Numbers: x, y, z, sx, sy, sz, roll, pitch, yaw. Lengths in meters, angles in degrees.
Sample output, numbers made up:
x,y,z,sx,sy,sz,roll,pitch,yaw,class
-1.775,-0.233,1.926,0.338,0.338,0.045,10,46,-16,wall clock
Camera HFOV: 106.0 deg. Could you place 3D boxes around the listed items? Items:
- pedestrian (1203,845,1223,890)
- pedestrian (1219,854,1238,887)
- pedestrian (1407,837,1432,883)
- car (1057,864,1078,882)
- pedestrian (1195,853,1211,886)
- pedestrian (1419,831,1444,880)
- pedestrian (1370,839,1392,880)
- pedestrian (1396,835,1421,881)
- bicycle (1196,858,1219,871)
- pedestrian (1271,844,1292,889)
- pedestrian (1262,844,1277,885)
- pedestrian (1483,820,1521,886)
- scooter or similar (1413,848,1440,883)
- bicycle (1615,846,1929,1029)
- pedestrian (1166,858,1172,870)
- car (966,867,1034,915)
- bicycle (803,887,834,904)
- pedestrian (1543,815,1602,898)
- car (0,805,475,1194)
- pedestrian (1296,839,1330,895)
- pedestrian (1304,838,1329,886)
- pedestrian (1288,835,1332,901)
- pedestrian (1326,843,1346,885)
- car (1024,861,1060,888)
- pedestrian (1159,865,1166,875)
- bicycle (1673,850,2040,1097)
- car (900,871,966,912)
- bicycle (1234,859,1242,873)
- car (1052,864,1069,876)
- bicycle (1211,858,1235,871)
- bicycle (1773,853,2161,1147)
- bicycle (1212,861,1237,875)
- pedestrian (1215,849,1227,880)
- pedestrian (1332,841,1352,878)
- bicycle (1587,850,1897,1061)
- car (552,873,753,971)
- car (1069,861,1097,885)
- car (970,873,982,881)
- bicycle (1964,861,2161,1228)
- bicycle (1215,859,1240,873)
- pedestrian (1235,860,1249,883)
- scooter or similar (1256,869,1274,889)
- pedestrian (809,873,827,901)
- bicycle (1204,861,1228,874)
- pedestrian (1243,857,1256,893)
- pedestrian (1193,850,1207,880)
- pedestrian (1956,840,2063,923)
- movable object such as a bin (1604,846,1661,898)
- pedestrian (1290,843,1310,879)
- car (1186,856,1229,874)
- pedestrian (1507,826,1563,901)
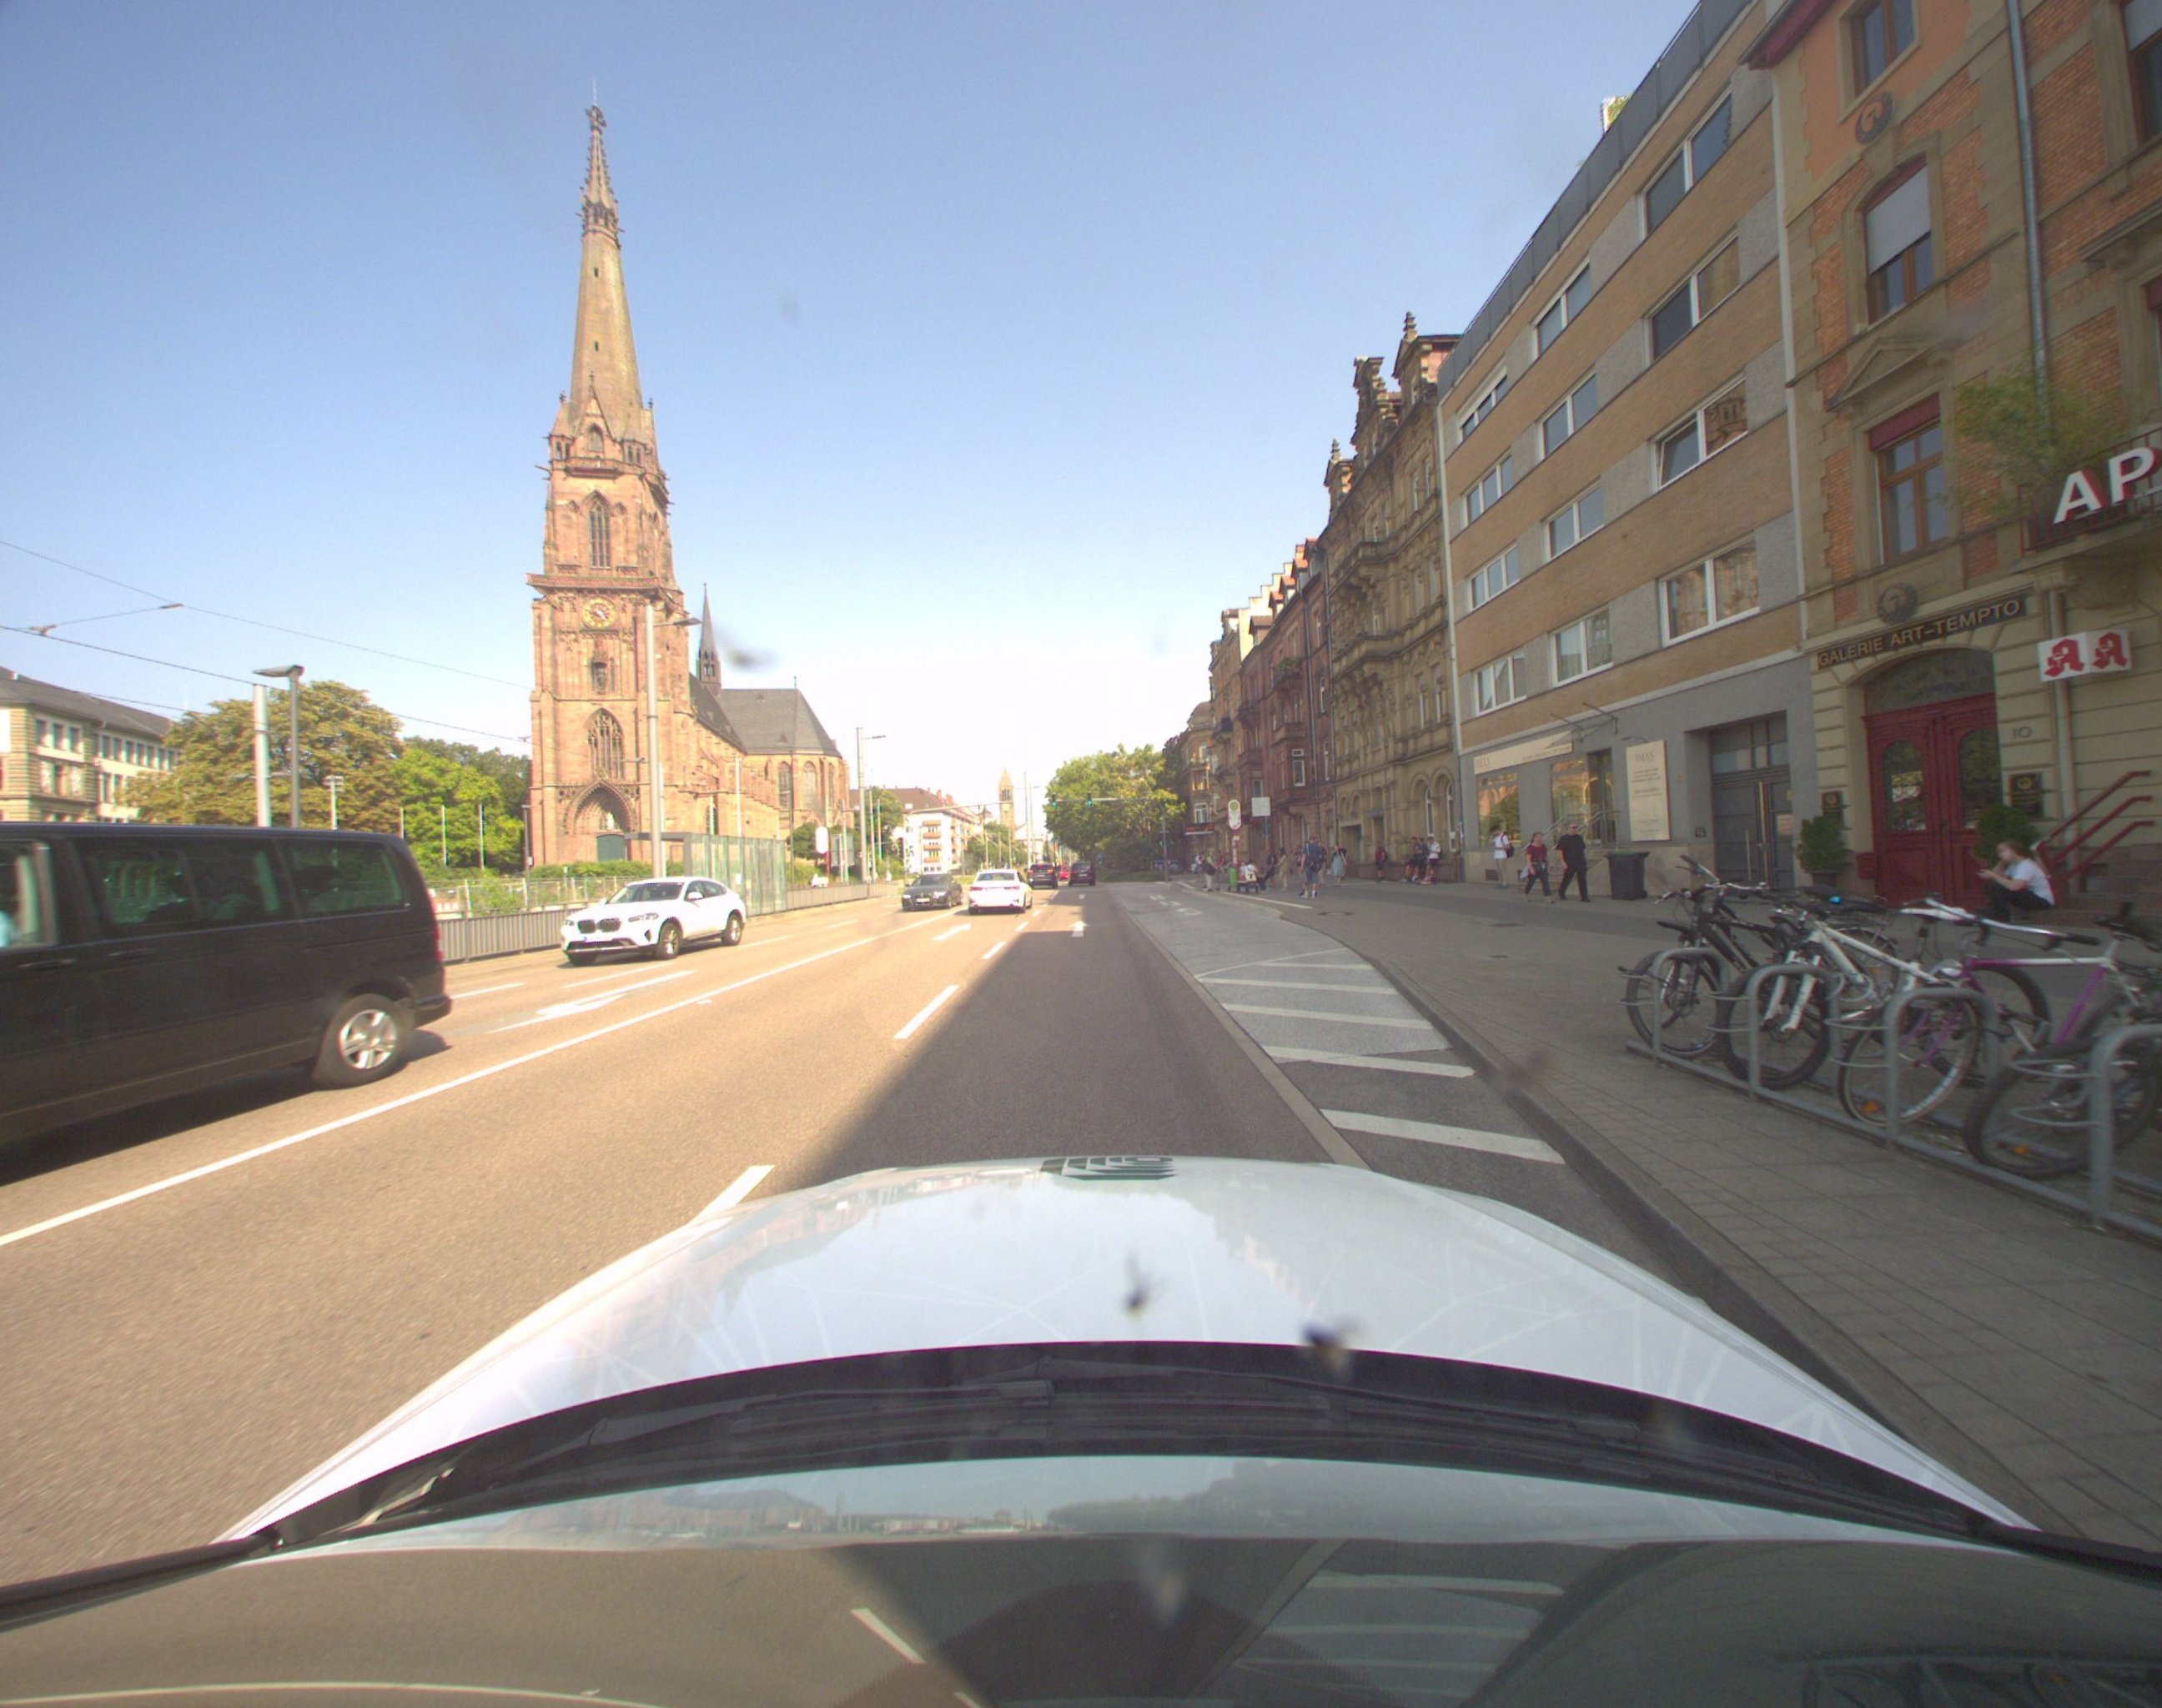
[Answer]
x,y,z,sx,sy,sz,roll,pitch,yaw,class
5.248,0.524,32.305,0.563,1.729,0.744,-3,-1,-3,pedestrian
5.855,0.658,32.256,0.563,1.277,0.596,-3,-1,-4,pedestrian
12.715,0.213,30.631,0.602,1.692,0.586,-3,-1,-3,pedestrian
-1.242,1.769,78.315,1.825,1.621,4.357,-1,0,1,car
5.937,0.751,39.656,0.527,1.612,0.702,-3,-1,-3,pedestrian
12.736,0.062,29.581,0.602,1.731,0.510,-3,-1,-3,pedestrian
12.273,0.224,33.331,0.602,1.654,0.586,-3,-1,-3,pedestrian
12.575,0.154,31.286,0.602,1.692,0.586,-3,-1,-3,pedestrian
11.658,0.946,75.068,1.925,1.048,0.526,-3,-1,-6,bicycle
7.889,0.488,32.101,0.563,1.729,0.616,-3,-1,-3,pedestrian
8.172,0.455,35.308,0.340,1.732,0.805,-3,-1,-3,pedestrian
12.175,-0.028,23.584,0.602,1.831,0.741,-3,-1,-3,pedestrian
12.034,0.391,28.365,0.359,1.163,1.151,-3,-1,-2,scooter or similar
4.827,0.565,5.765,1.626,1.148,0.602,-3,-1,2,bicycle
9.637,1.070,89.405,0.596,1.248,0.506,-3,-1,-1,pedestrian
-2.662,1.186,27.679,1.803,1.427,4.774,-1,0,0,car
-16.446,2.581,51.036,1.754,0.978,0.479,-3,-1,-2,bicycle
10.984,0.066,18.223,0.717,1.787,0.856,-3,-1,1,pedestrian
-6.313,0.784,4.685,1.987,1.904,4.715,-4,-1,0,car
7.466,0.416,26.219,0.748,1.729,0.800,-3,-1,-3,pedestrian
9.288,0.315,32.149,0.614,1.804,1.072,-3,-1,1,pedestrian
6.612,0.397,23.542,0.923,1.831,0.800,-3,-1,-3,pedestrian
10.160,0.392,32.416,0.484,1.610,0.813,-3,-1,1,pedestrian
-2.422,1.269,51.548,1.987,1.621,4.357,-1,0,1,car
8.766,1.709,87.479,0.446,1.071,0.482,-2,-1,-30,pedestrian
4.102,0.599,4.338,1.630,1.148,0.385,-3,-1,-5,bicycle
-5.794,1.433,32.360,1.707,1.331,4.520,-4,-1,0,car
12.474,0.957,64.826,0.414,1.048,1.672,-3,-1,6,bicycle
-2.437,1.925,99.599,1.857,1.424,4.357,-1,0,1,car
12.117,0.912,69.560,1.925,1.048,0.498,-3,-1,-6,bicycle
4.080,0.611,3.668,1.630,1.148,0.385,-3,-1,-5,bicycle
11.892,1.122,67.390,1.925,1.048,0.498,-3,-1,-6,bicycle
7.974,0.605,46.325,0.480,1.702,0.702,-3,-1,-3,pedestrian
12.331,0.248,38.484,0.627,1.719,0.691,-3,-1,0,pedestrian
4.056,0.595,5.029,1.630,1.148,0.385,-3,-1,-5,bicycle
-8.720,1.285,17.102,1.707,1.611,4.504,-4,-1,0,car
0.170,1.302,57.880,1.825,1.621,4.357,-1,0,1,car
-22.041,4.744,171.573,1.988,1.500,3.997,-3,-1,-2,car
4.148,0.599,2.910,1.630,1.148,0.385,-3,-1,-5,bicycle
12.008,0.989,66.624,1.925,1.048,0.498,-3,-1,-6,bicycle
5.964,0.654,30.140,0.302,0.820,0.602,-3,-1,-7,pedestrian
7.237,0.965,32.036,0.563,0.741,0.514,-3,-1,-3,scooter or similar
-16.481,2.047,51.044,0.914,1.679,0.602,-3,-1,-1,pedestrian
11.890,1.230,71.781,1.925,1.048,0.526,-3,-1,-6,bicycle
6.061,0.735,29.262,0.275,1.274,0.447,-3,-1,-7,pedestrian
6.829,0.640,46.773,0.688,1.664,0.619,-3,-1,0,pedestrian
11.528,0.331,10.137,0.606,0.982,0.639,-3,-1,20,pedestrian
12.028,0.395,17.761,0.738,1.080,0.666,-3,-1,-17,movable object such as a bin
10.966,0.342,40.802,0.698,1.724,0.897,-3,-1,0,pedestrian
13.301,1.156,85.856,4.172,1.563,1.997,-3,-1,-4,car
10.178,0.208,18.298,0.717,1.610,0.856,-3,-1,1,pedestrian
